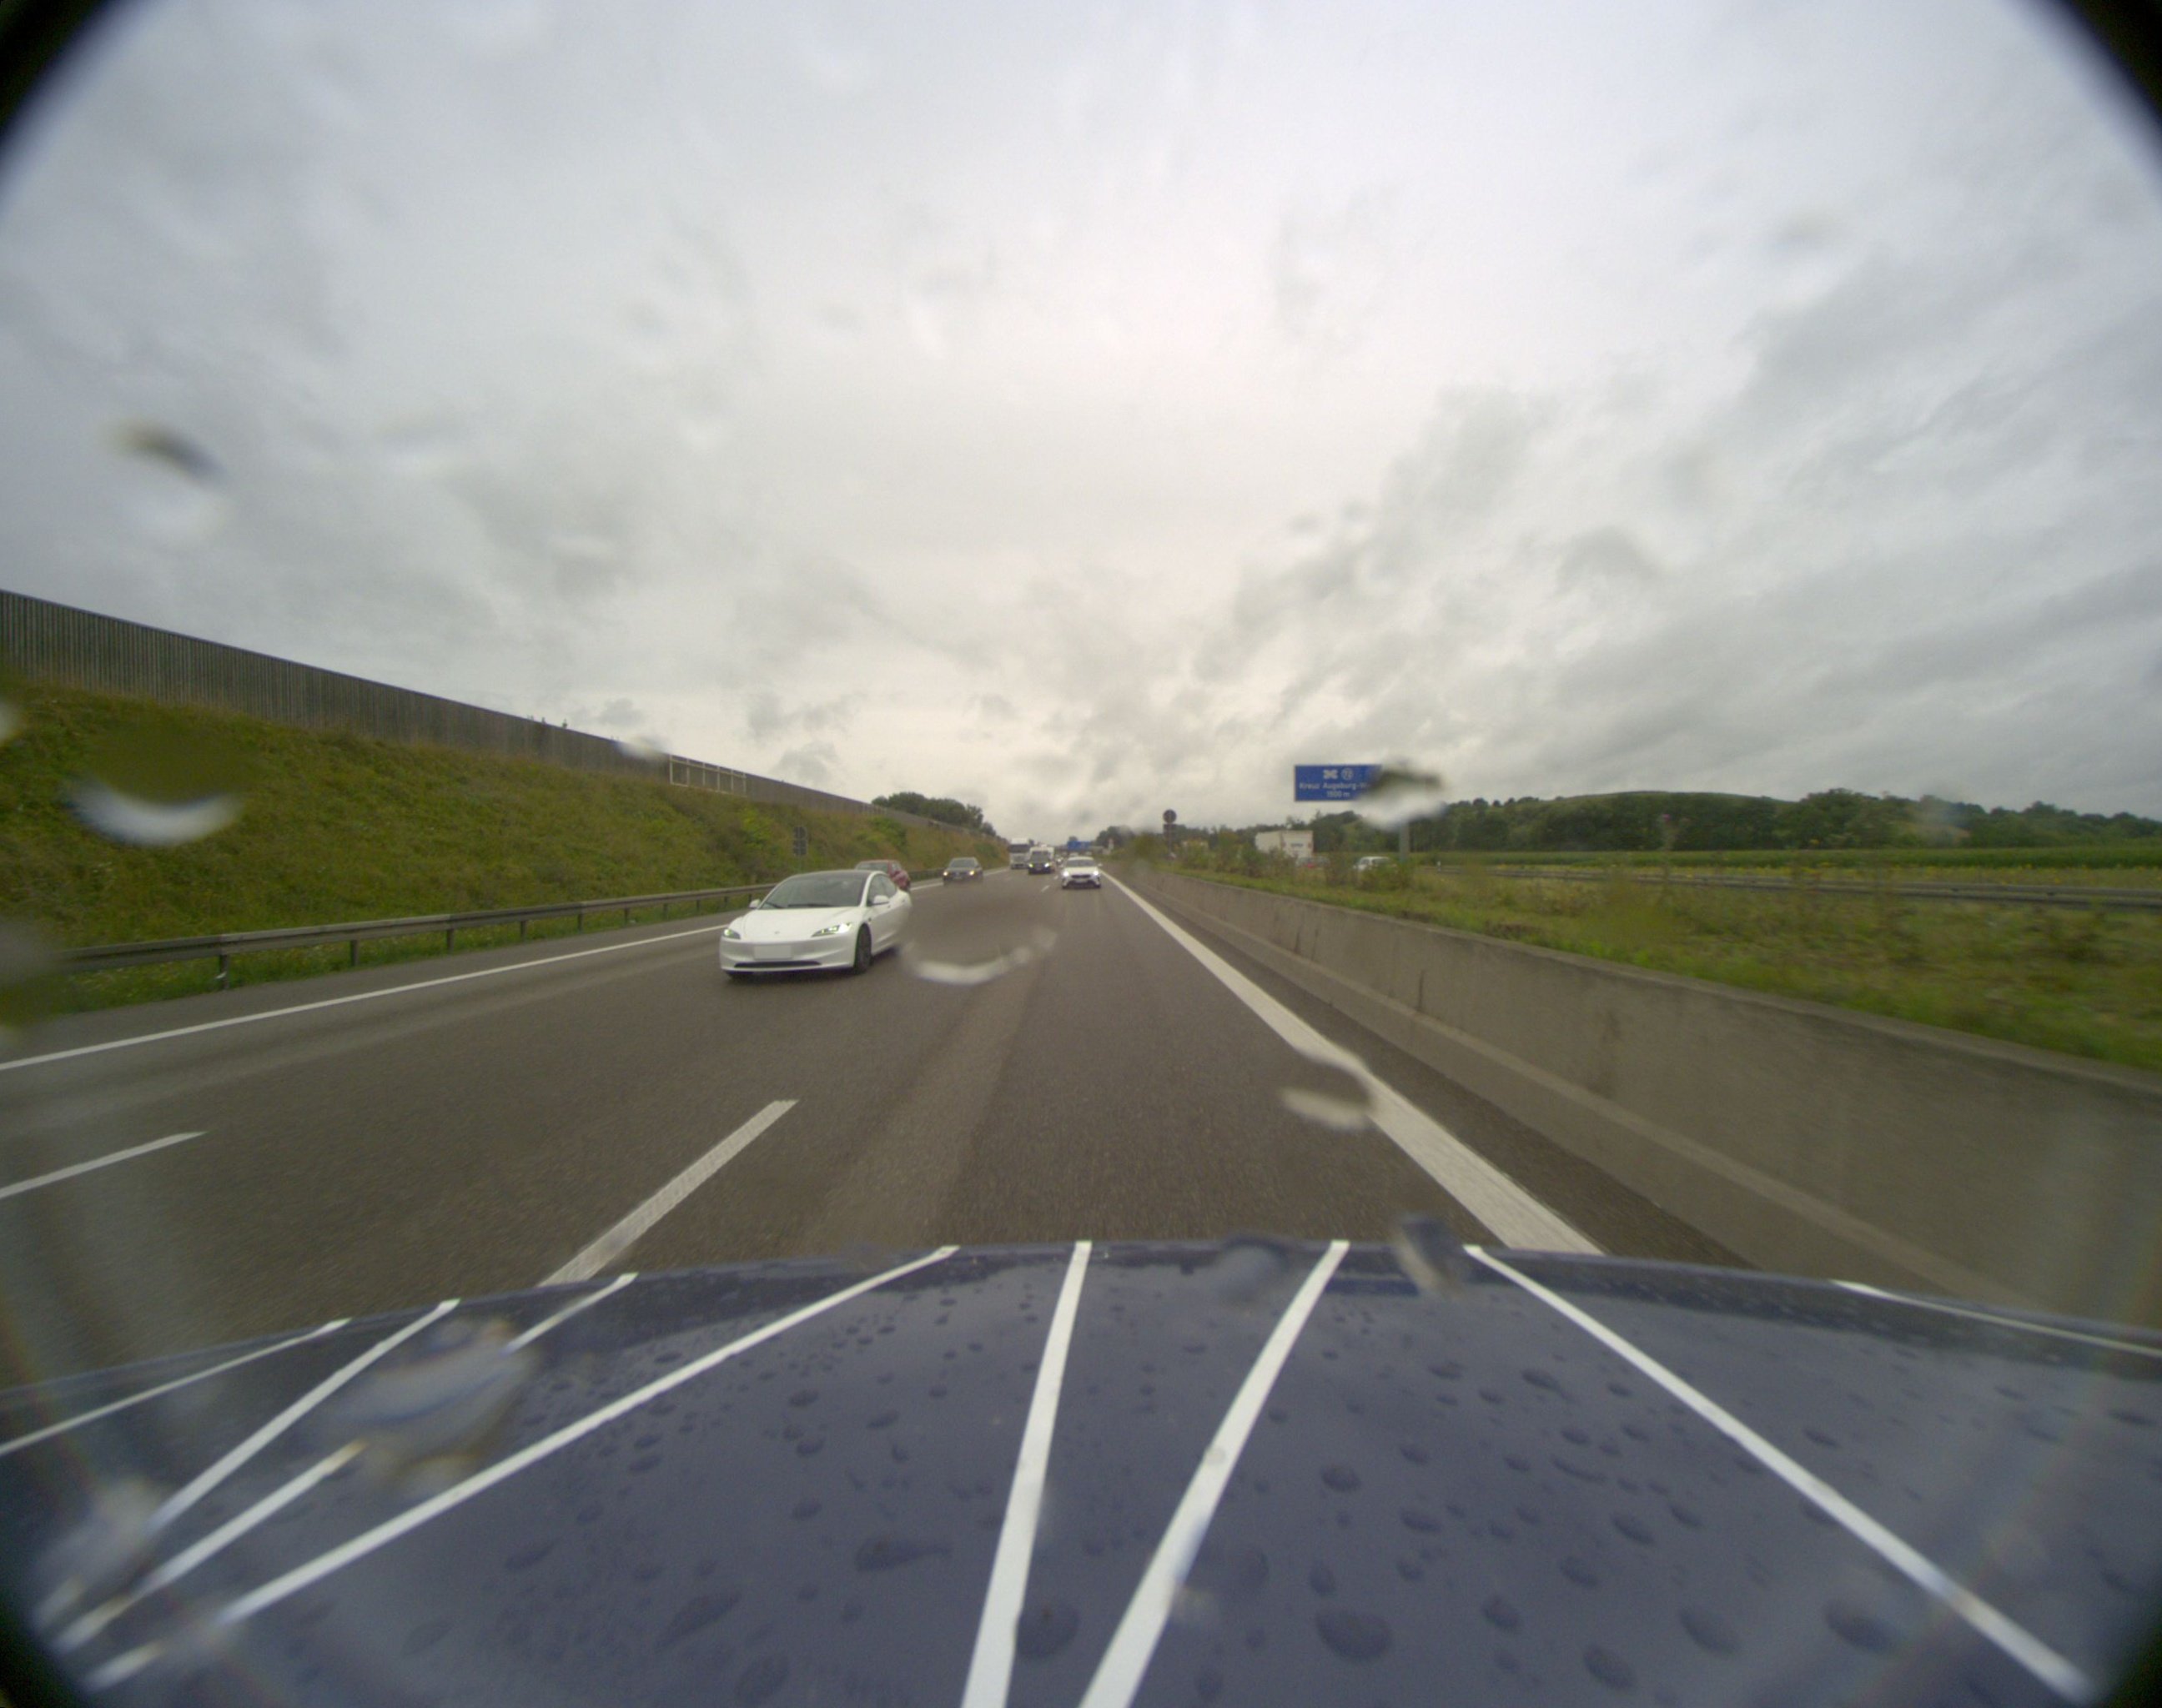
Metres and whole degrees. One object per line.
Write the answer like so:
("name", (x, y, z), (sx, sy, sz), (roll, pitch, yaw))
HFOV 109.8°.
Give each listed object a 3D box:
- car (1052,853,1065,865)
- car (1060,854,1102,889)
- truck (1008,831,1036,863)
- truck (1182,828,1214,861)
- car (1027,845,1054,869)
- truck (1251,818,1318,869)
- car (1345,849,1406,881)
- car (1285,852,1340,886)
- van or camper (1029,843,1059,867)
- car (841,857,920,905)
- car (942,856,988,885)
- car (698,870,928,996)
("car", (-3.518, 0.778, 119.868), (1.999, 1.759, 3.999), (0, 0, -2))
("car", (0.031, 0.787, 36.416), (1.840, 1.455, 3.999), (-2, 1, 1))
("truck", (-7.829, -0.933, 101.359), (3.090, 4.003, 6.955), (-2, 1, -1))
("truck", (17.501, -1.445, 114.344), (3.233, 4.623, 9.672), (-2, 1, 0))
("car", (-3.559, 0.213, 68.114), (1.998, 2.002, 4.937), (-2, 1, 1))
("truck", (17.493, -0.889, 66.279), (3.191, 3.944, 10.810), (-2, 1, 2))
("car", (17.191, 0.597, 44.584), (1.998, 1.674, 3.999), (-2, 1, 0))
("car", (12.786, 0.790, 42.134), (1.820, 1.643, 3.999), (-2, 1, 0))
("van or camper", (-3.536, 0.025, 73.594), (2.432, 2.139, 6.497), (-2, 1, 1))
("car", (-7.515, 0.966, 28.910), (1.878, 1.526, 3.999), (-2, 1, 0))
("car", (-6.687, 0.922, 44.295), (1.929, 1.480, 4.485), (-2, 1, 0))
("car", (-3.889, 1.059, 12.064), (1.878, 1.355, 4.812), (-2, 1, 0))
